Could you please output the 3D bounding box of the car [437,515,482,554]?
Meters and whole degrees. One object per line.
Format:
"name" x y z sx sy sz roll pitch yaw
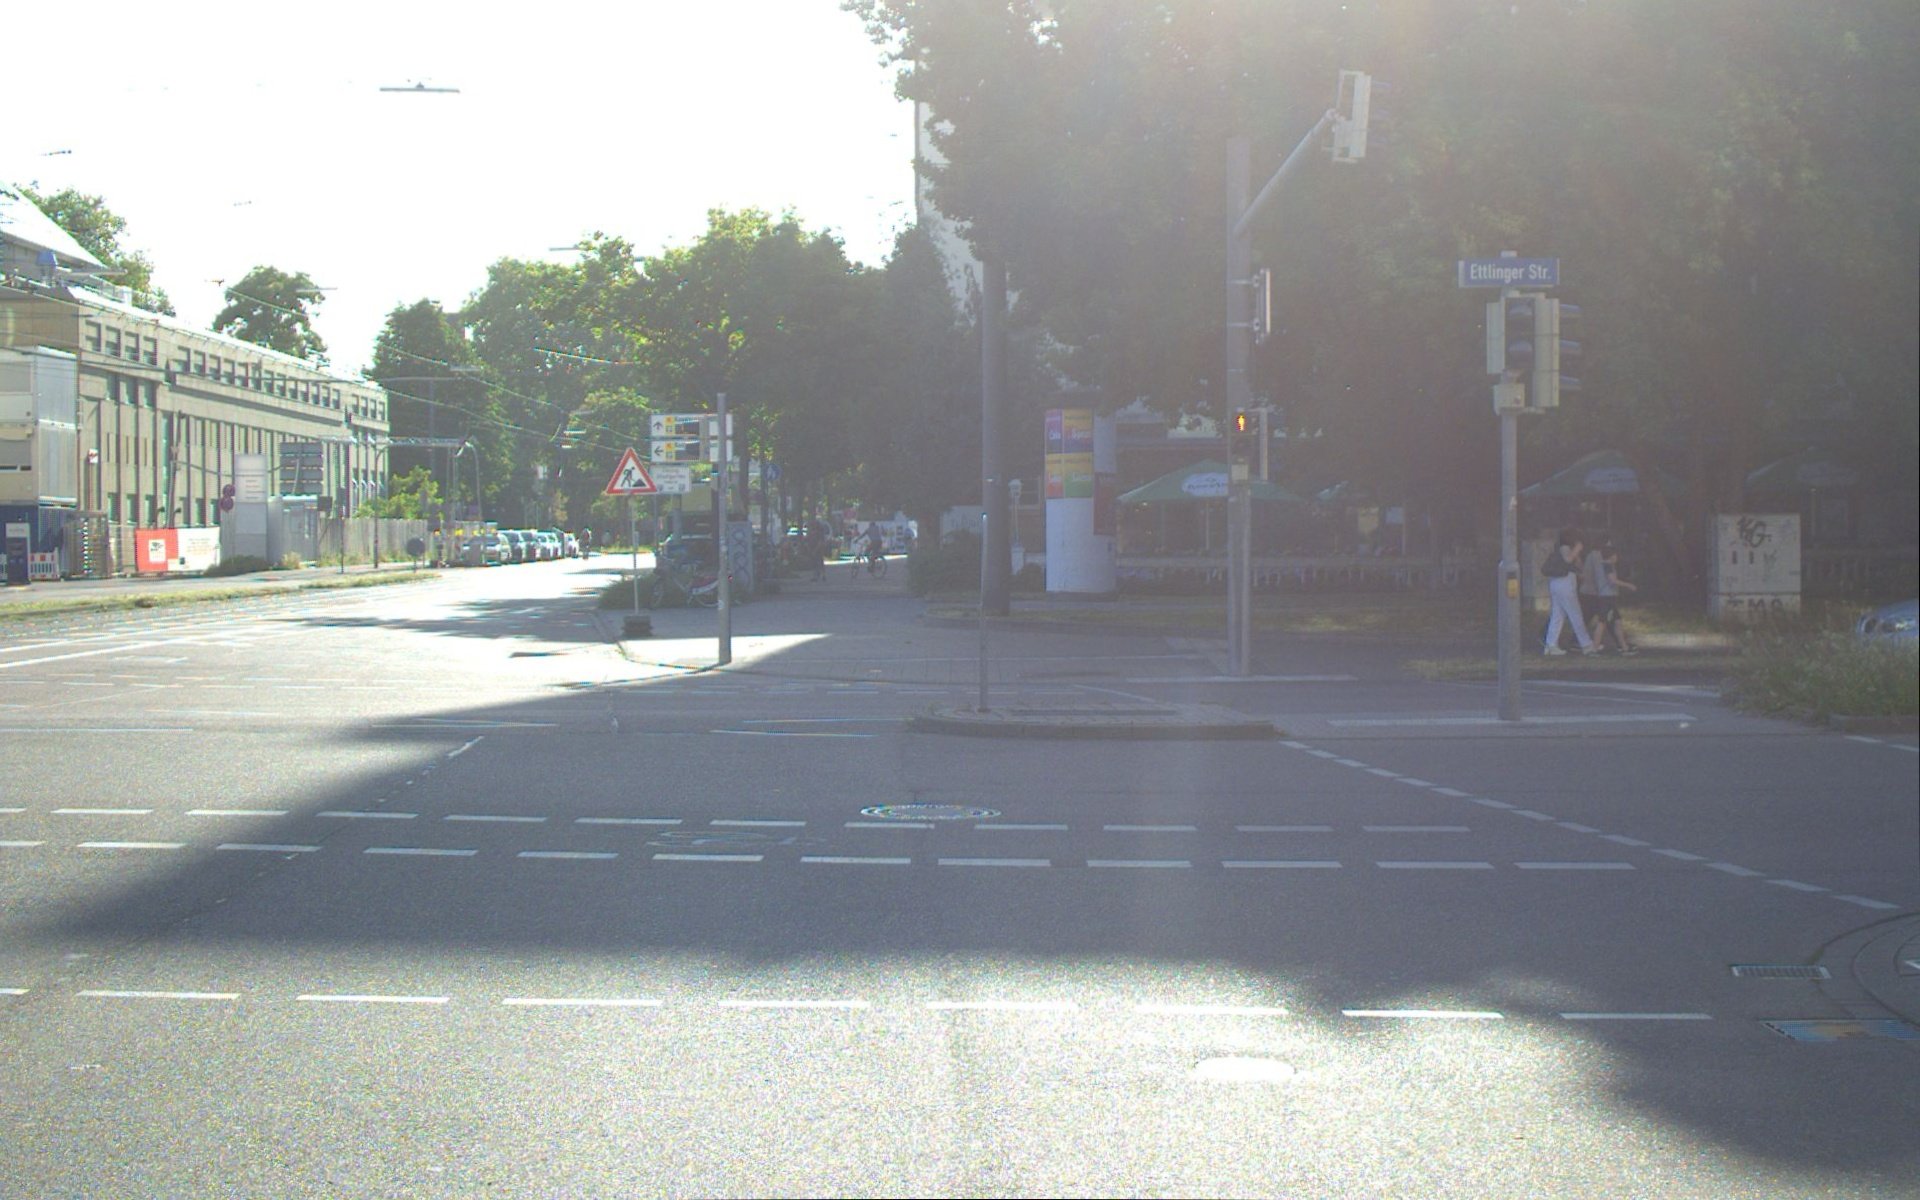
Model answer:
"car" -22.777 -2.968 156.447 1.692 1.712 4.248 1 1 -4

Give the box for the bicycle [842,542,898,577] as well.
"bicycle" -2.758 -1.241 105.118 1.829 1.073 0.575 1 1 43

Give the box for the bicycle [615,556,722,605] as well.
"bicycle" -5.730 -0.383 67.483 2.018 0.888 0.650 -2 0 27

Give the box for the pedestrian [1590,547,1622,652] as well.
"pedestrian" 8.167 -0.003 43.458 0.317 1.311 0.345 1 2 2

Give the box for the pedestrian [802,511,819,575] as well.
"pedestrian" -4.270 -1.631 98.333 0.463 1.807 0.503 0 1 -5

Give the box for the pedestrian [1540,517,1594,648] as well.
"pedestrian" 7.787 -0.234 44.101 0.583 1.657 0.514 1 2 2

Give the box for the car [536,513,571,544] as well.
"car" -23.017 -4.033 194.693 1.692 1.712 4.248 1 1 -4

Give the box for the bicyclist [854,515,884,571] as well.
"bicyclist" -2.771 -1.745 105.113 0.699 1.685 0.570 0 1 41

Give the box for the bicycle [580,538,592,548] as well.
"bicycle" -18.419 -2.802 169.315 0.501 0.513 1.258 1 1 -1

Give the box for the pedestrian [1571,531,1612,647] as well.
"pedestrian" 8.188 -0.149 44.589 0.439 1.498 0.437 0 1 1

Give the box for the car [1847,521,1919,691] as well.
"car" 10.844 0.022 33.415 3.993 1.605 1.650 -1 1 -1
